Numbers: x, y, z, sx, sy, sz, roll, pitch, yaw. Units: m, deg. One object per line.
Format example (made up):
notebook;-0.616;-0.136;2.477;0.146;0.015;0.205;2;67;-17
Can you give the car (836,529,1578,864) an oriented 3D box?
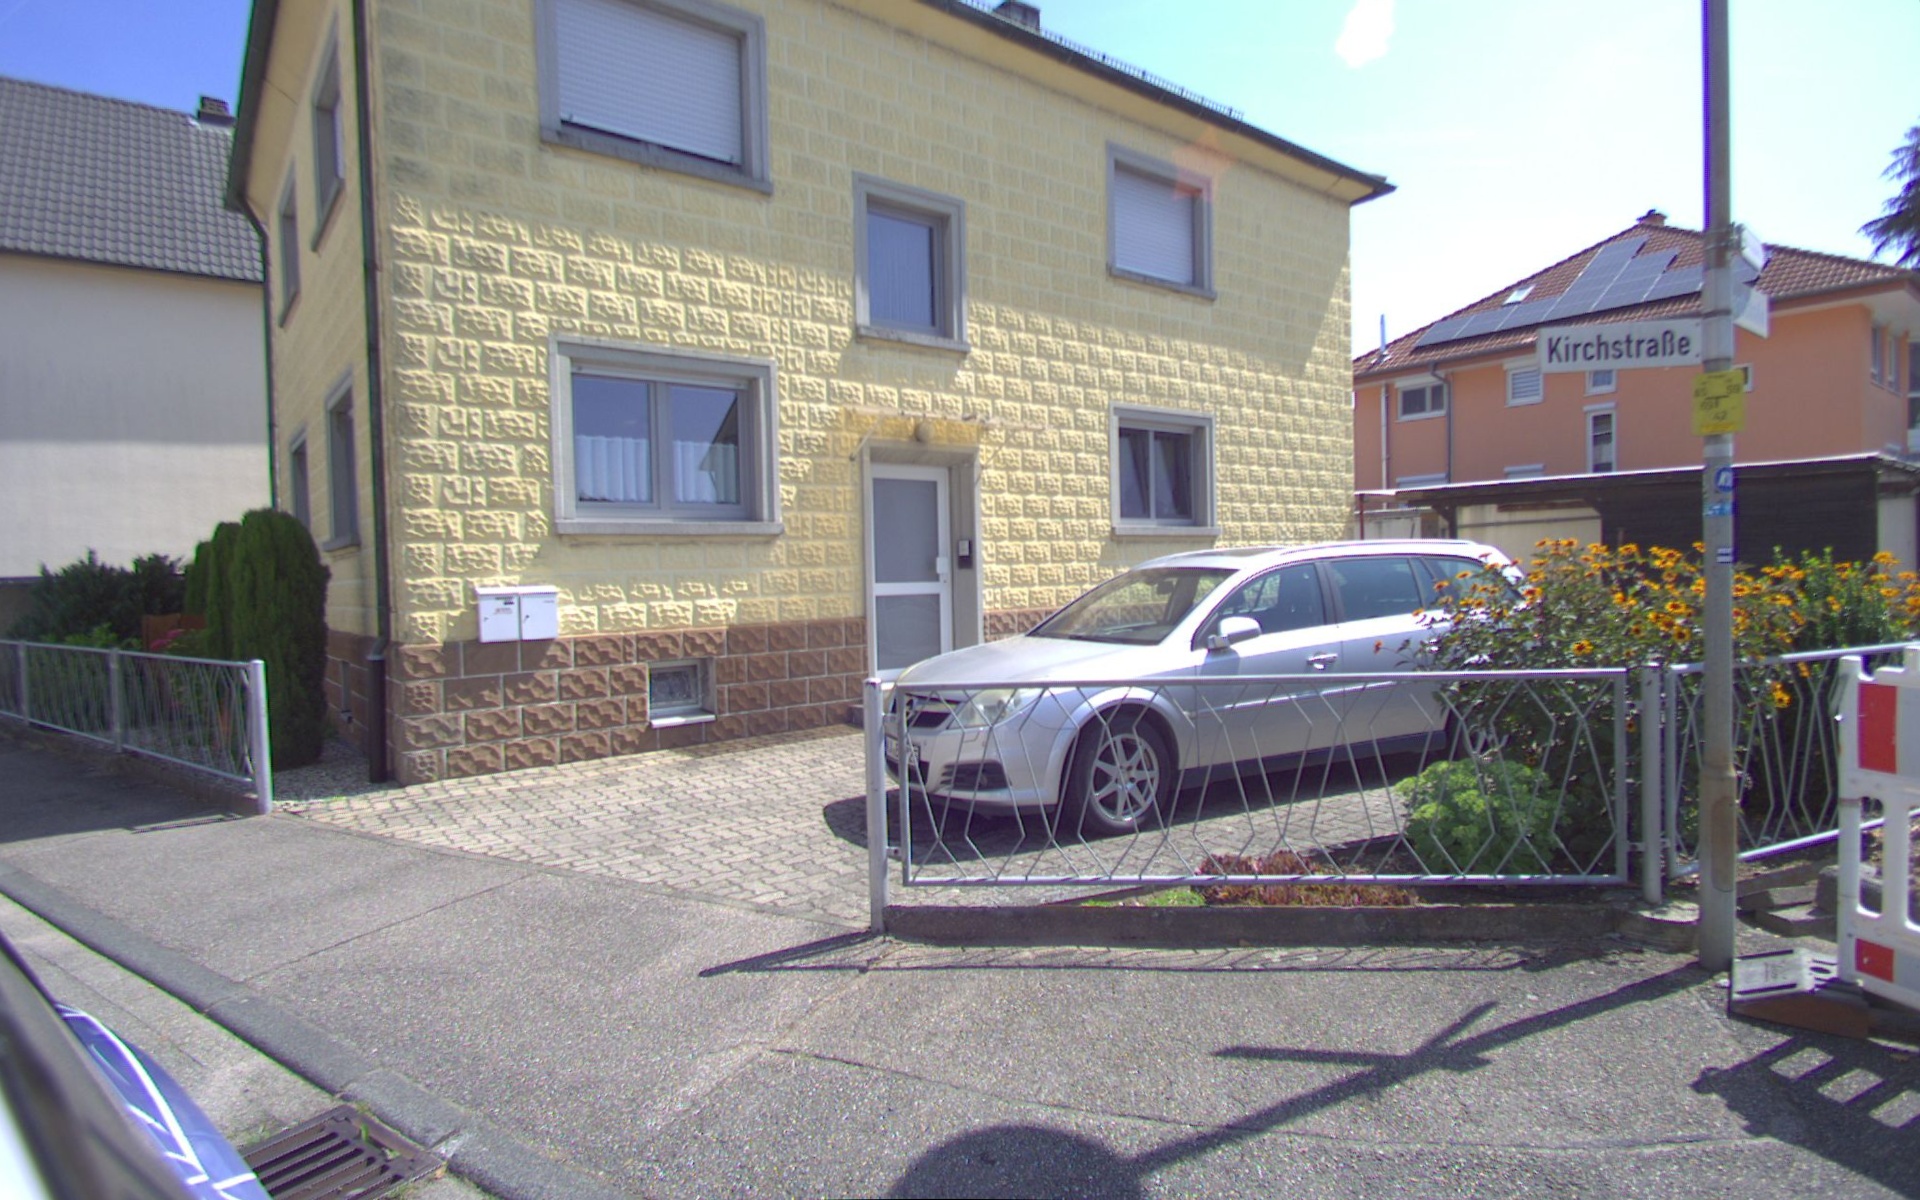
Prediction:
car;1.625;0.364;6.378;4.396;1.496;1.798;-2;2;-26
